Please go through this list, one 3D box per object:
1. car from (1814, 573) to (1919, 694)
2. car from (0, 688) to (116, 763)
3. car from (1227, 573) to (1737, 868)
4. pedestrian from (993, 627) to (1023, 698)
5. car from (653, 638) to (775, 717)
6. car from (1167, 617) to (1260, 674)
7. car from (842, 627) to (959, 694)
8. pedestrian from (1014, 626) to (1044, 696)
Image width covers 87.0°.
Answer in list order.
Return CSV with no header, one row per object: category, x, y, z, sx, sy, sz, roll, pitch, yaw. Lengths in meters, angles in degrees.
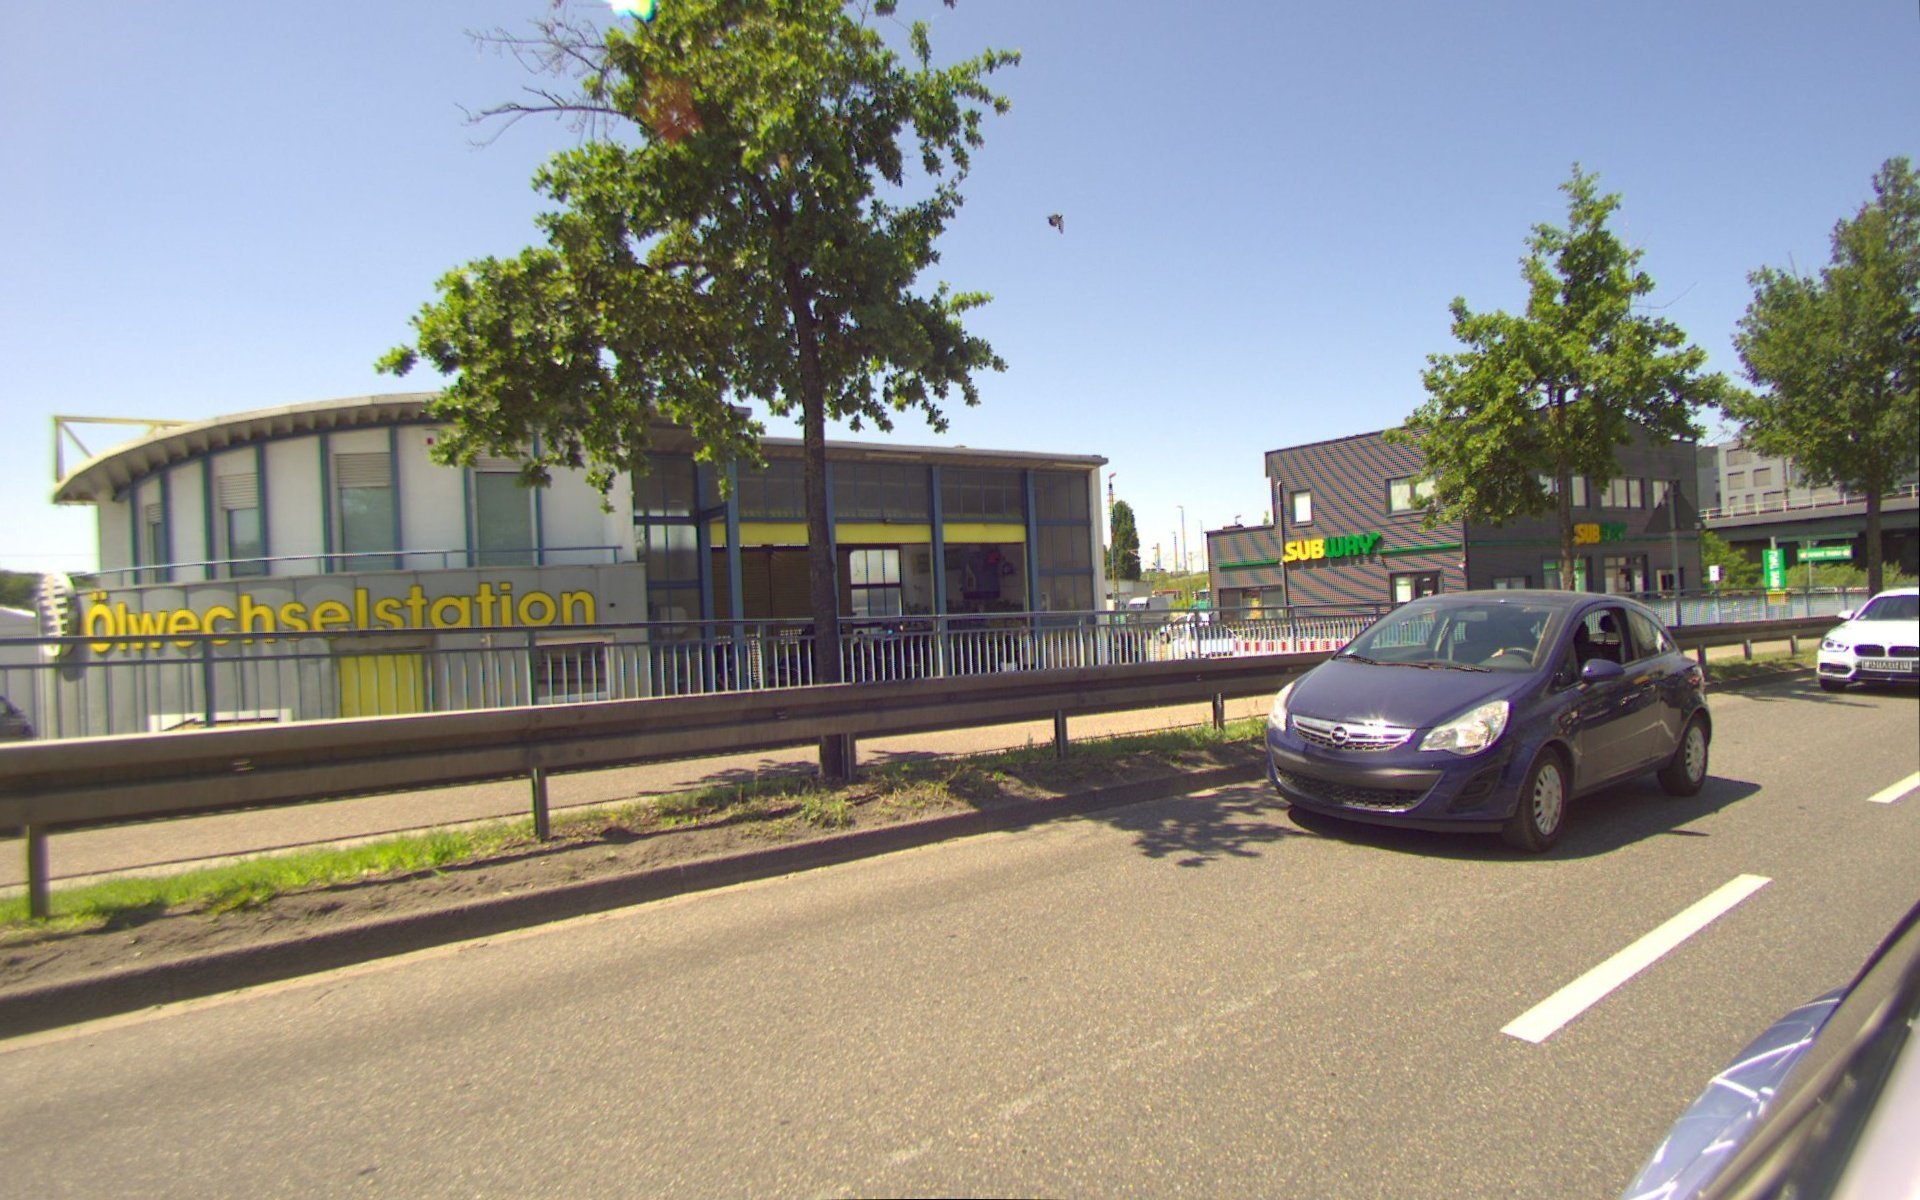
car,13.782,0.389,14.145,3.975,1.461,1.765,-2,2,-33
car,-25.690,3.507,28.899,1.655,1.571,4.004,-2,0,-29
car,3.713,0.590,6.945,3.820,1.462,1.650,-2,0,-38
pedestrian,1.200,1.561,25.449,0.479,1.724,0.523,-2,0,-33
car,-6.299,1.886,25.665,1.621,1.705,3.676,-2,0,-38
car,7.727,1.337,31.301,1.965,1.375,5.076,-2,1,5
car,-1.798,1.707,29.622,1.620,1.705,3.677,-2,0,-37
pedestrian,1.766,1.558,25.969,0.578,1.724,0.427,-2,0,-34
